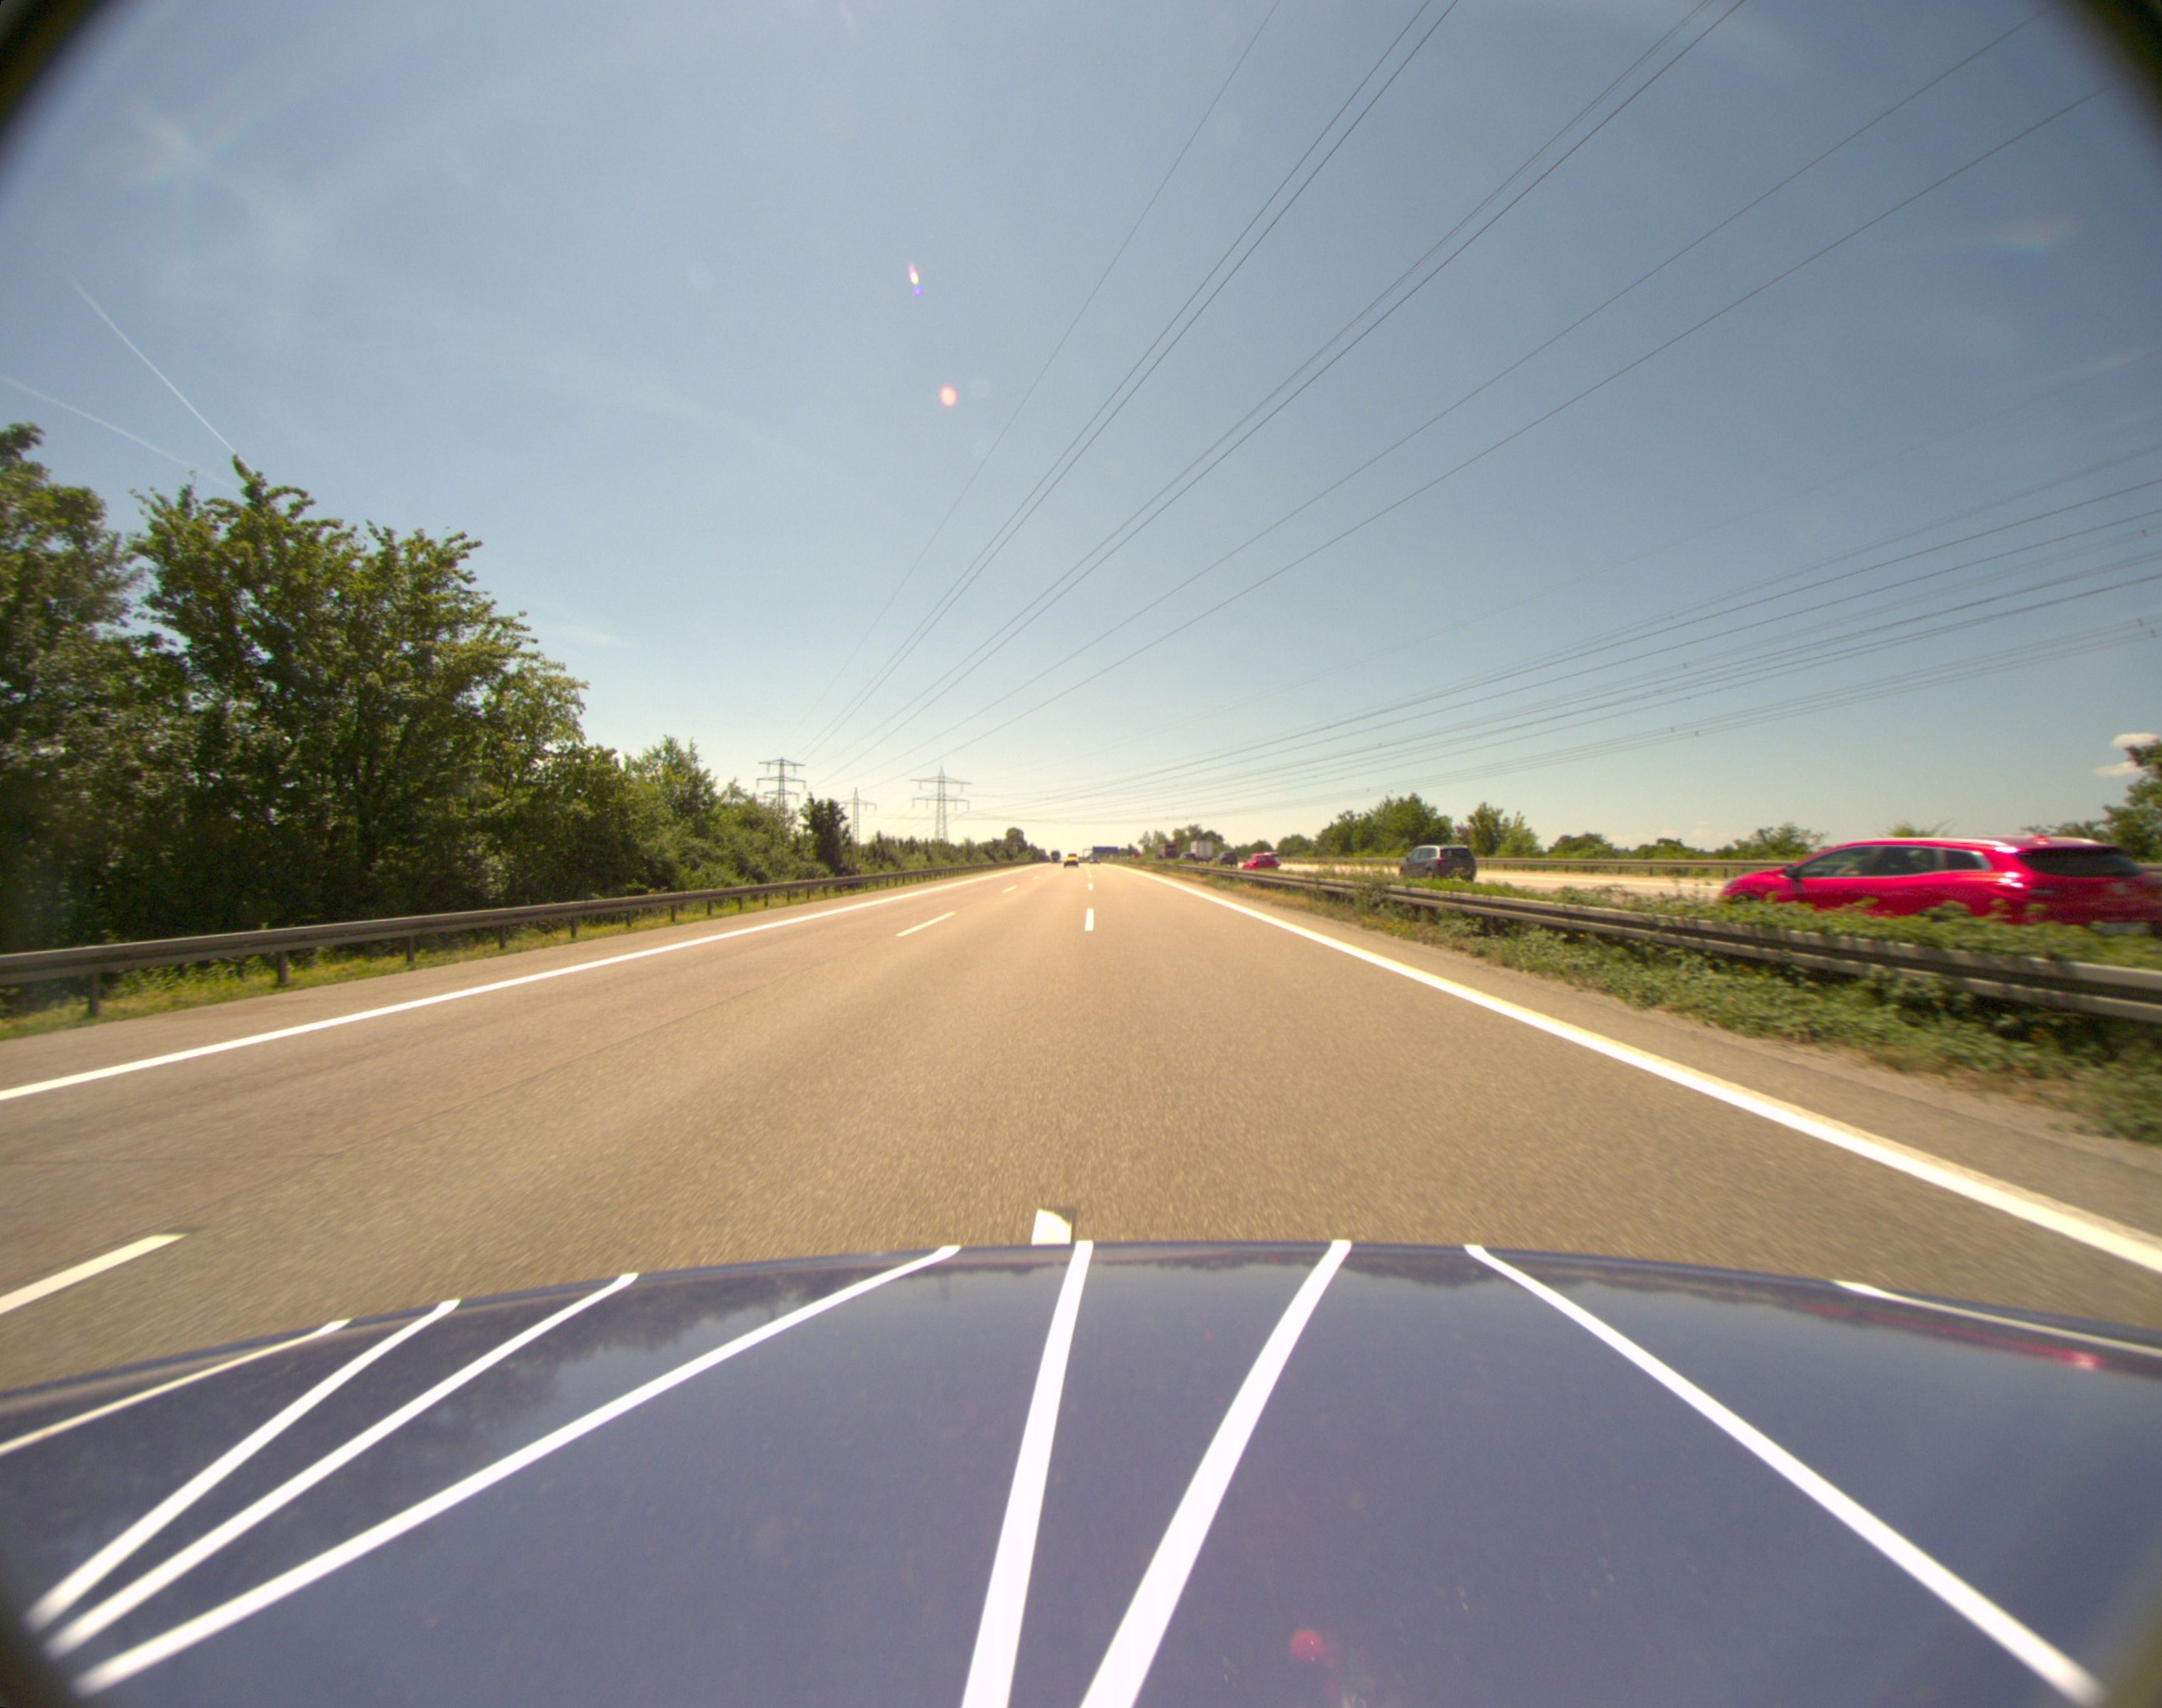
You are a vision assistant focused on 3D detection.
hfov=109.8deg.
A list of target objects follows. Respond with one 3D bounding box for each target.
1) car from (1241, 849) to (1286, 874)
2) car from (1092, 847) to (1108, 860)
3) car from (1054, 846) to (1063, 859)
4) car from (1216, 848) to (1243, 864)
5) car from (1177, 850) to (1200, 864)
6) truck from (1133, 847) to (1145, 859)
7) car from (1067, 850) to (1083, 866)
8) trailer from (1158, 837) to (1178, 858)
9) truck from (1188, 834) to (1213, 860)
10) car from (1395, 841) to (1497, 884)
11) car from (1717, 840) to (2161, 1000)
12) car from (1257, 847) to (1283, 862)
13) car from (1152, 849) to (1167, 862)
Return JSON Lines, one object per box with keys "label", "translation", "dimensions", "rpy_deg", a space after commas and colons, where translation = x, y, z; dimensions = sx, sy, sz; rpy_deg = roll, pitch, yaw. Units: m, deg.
{"label": "car", "translation": [11.625, 0.465, 48.734], "dimensions": [1.908, 1.471, 3.960], "rpy_deg": [-1, 0, 0]}
{"label": "car", "translation": [3.629, -0.077, 143.658], "dimensions": [2.687, 2.509, 5.967], "rpy_deg": [0, -1, -1]}
{"label": "car", "translation": [-6.568, -0.429, 221.591], "dimensions": [2.687, 3.723, 6.270], "rpy_deg": [0, -1, -1]}
{"label": "car", "translation": [16.239, 0.260, 83.208], "dimensions": [1.998, 1.608, 4.411], "rpy_deg": [-2, -1, 0]}
{"label": "car", "translation": [12.122, 0.346, 85.866], "dimensions": [1.998, 1.427, 4.411], "rpy_deg": [-2, -1, 0]}
{"label": "truck", "translation": [18.102, -0.257, 237.458], "dimensions": [2.777, 3.506, 8.533], "rpy_deg": [-2, -1, -1]}
{"label": "car", "translation": [-0.846, 0.513, 98.450], "dimensions": [1.956, 2.001, 5.433], "rpy_deg": [0, -1, -1]}
{"label": "trailer", "translation": [19.465, -1.351, 170.874], "dimensions": [2.655, 4.525, 13.865], "rpy_deg": [-2, -1, 0]}
{"label": "truck", "translation": [19.059, -1.097, 121.827], "dimensions": [2.460, 3.952, 9.671], "rpy_deg": [1, -1, 0]}
{"label": "car", "translation": [15.442, 0.322, 32.493], "dimensions": [1.998, 1.663, 4.929], "rpy_deg": [-1, 0, 0]}
{"label": "car", "translation": [10.949, 0.634, 9.672], "dimensions": [1.998, 1.540, 4.447], "rpy_deg": [-1, 0, 0]}
{"label": "car", "translation": [19.953, 0.075, 80.353], "dimensions": [1.670, 1.523, 4.279], "rpy_deg": [-1, 0, 0]}
{"label": "car", "translation": [12.440, 0.305, 120.720], "dimensions": [1.998, 1.962, 4.286], "rpy_deg": [-2, -1, 0]}
